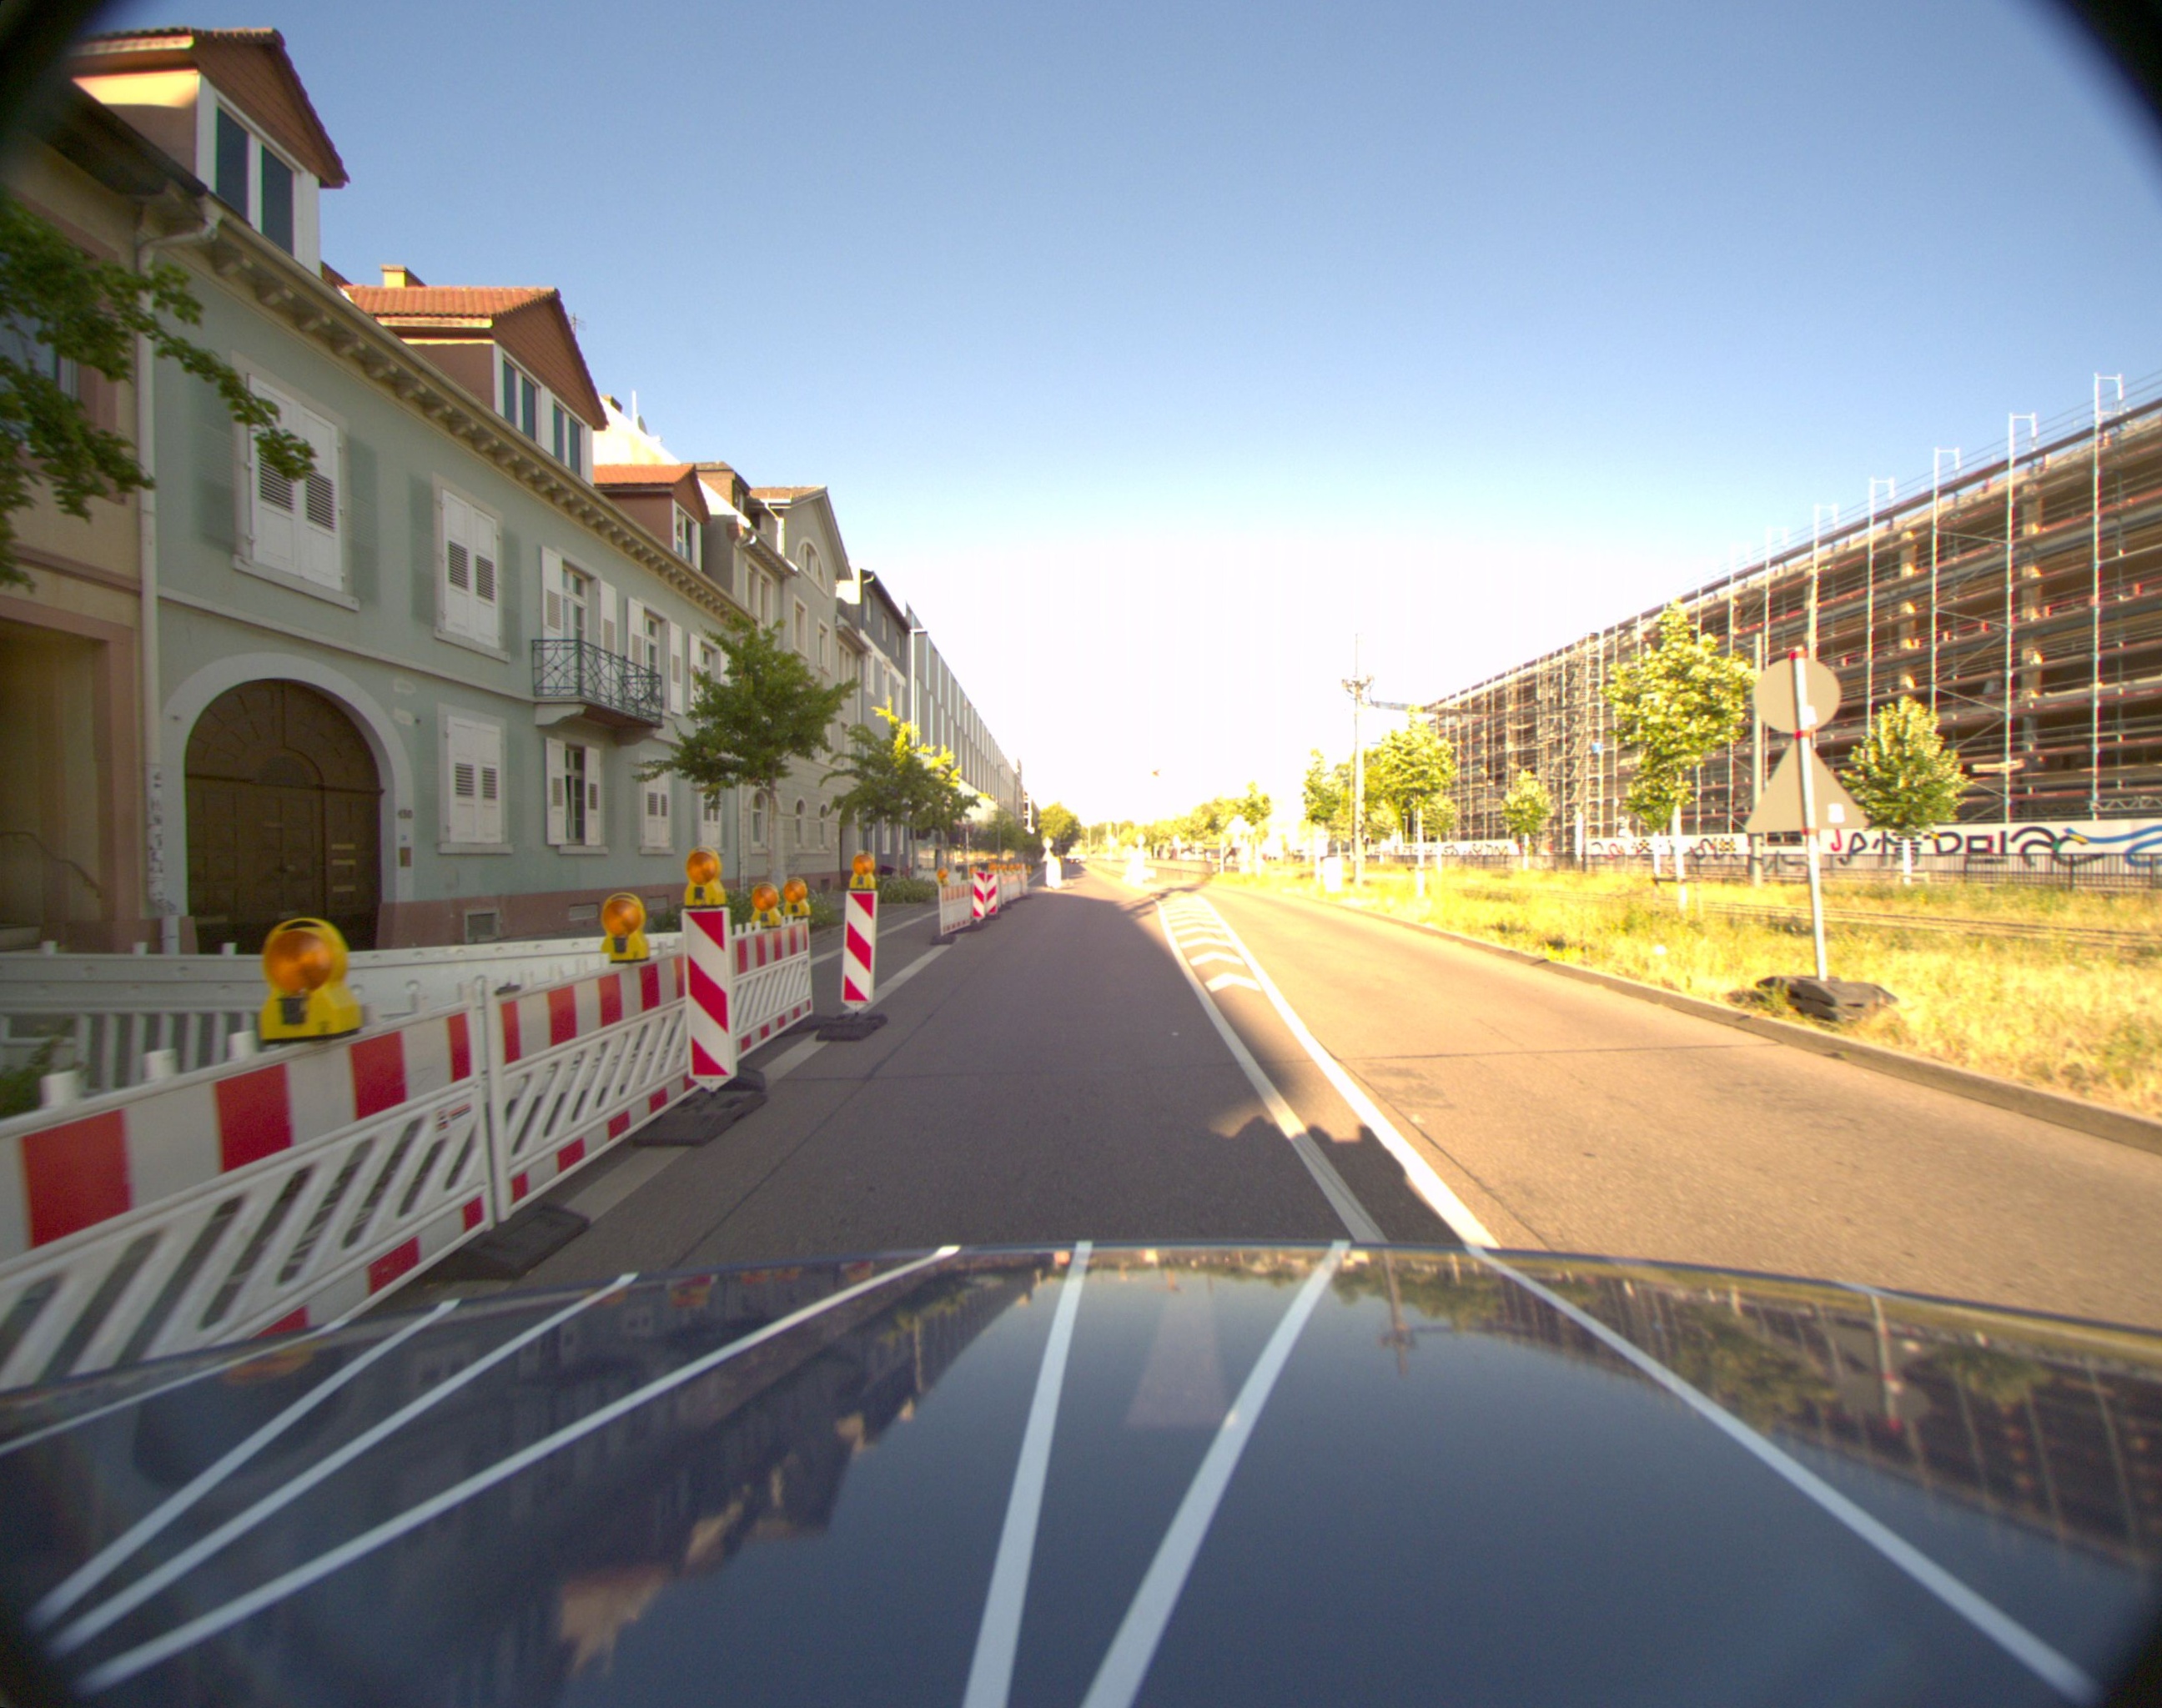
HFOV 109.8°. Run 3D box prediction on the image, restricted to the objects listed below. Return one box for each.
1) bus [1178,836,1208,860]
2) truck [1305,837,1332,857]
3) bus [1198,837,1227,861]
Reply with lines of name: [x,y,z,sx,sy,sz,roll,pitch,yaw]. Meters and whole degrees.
bus: [15.309,-0.823,104.445,2.724,3.203,8.655,0,0,0]
truck: [31.531,-0.943,100.831,2.143,2.559,4.740,0,0,1]
bus: [18.599,-0.653,108.075,2.724,3.203,8.655,0,0,1]
